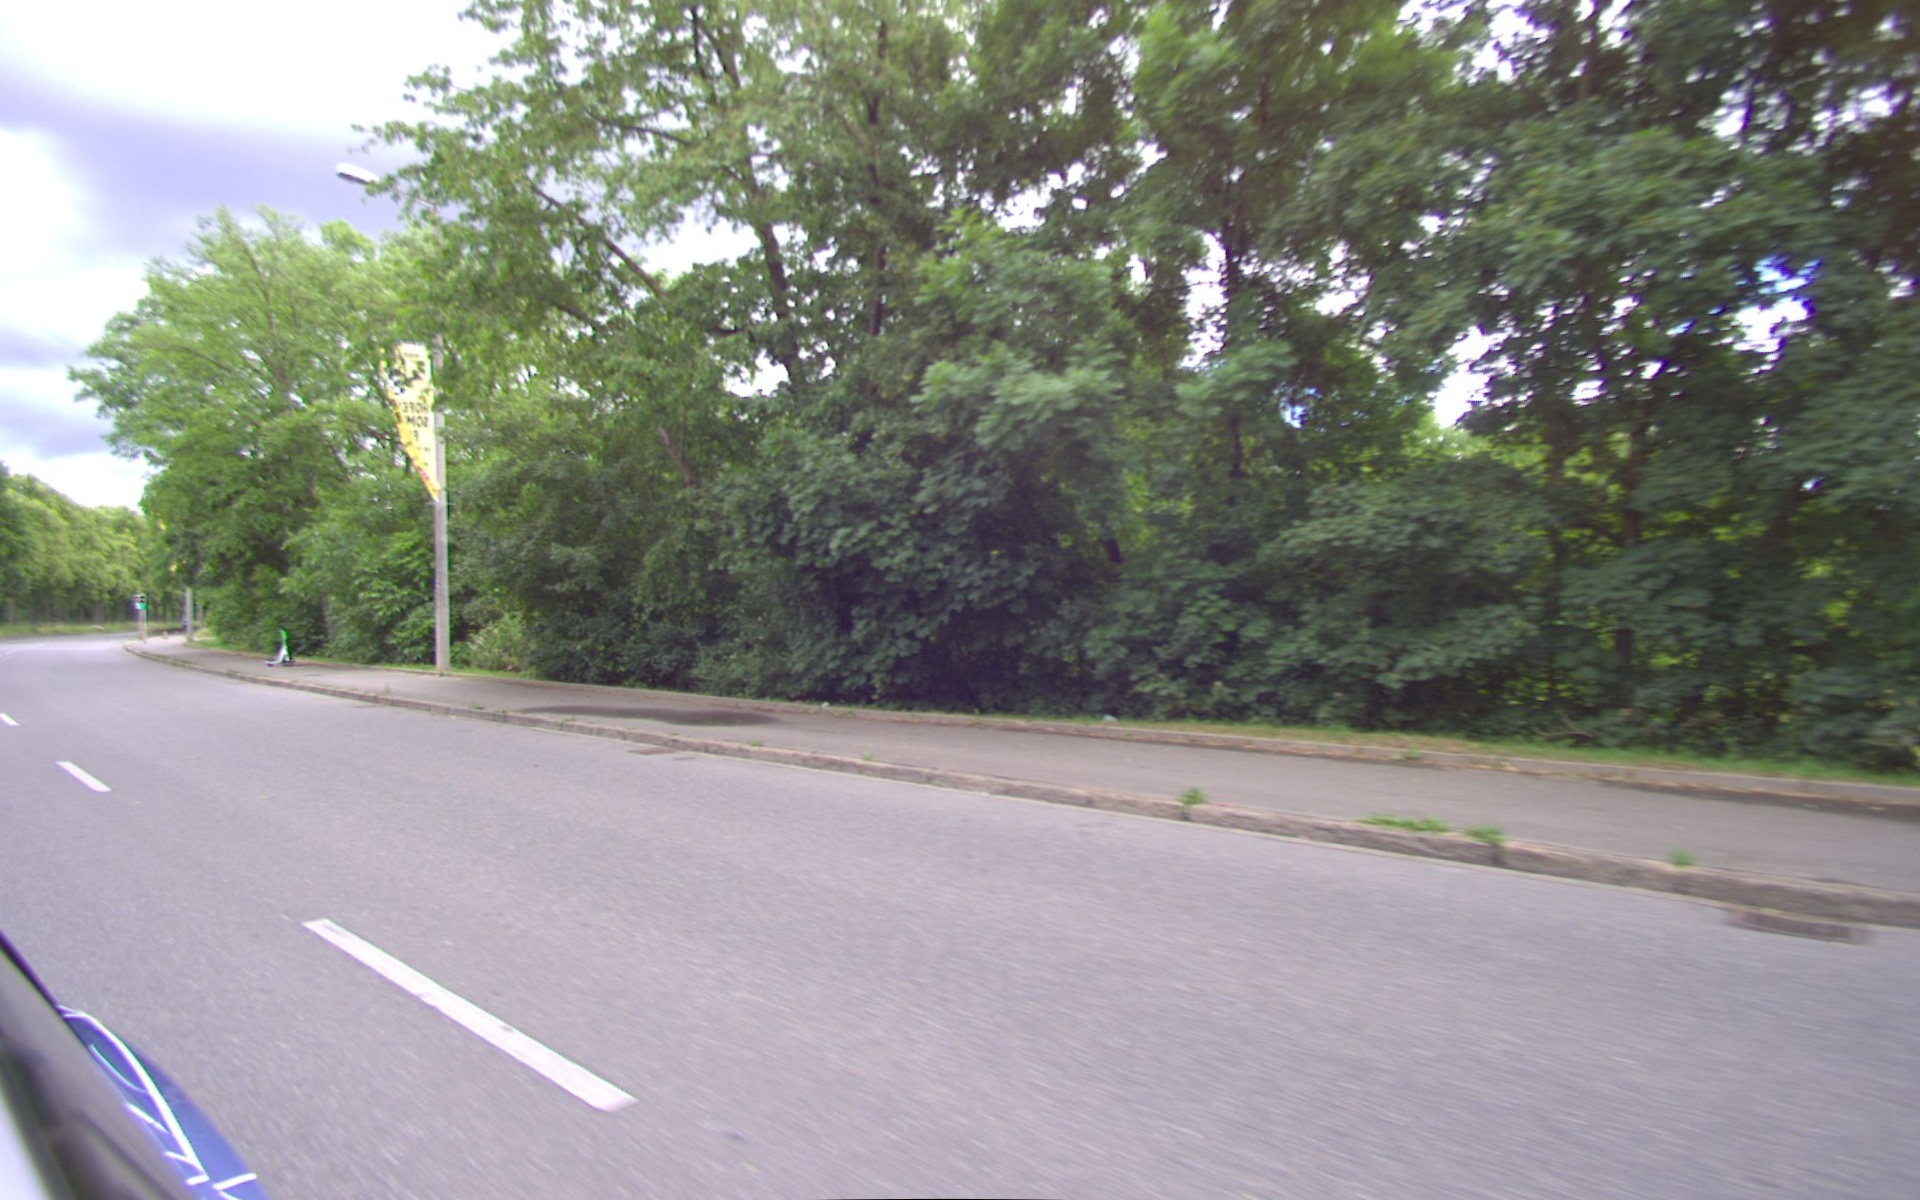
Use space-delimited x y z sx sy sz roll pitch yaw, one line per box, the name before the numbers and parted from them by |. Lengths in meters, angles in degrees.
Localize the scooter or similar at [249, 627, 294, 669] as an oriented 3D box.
scooter or similar | -20.016 1.391 29.415 1.287 1.193 0.363 -2 0 19
